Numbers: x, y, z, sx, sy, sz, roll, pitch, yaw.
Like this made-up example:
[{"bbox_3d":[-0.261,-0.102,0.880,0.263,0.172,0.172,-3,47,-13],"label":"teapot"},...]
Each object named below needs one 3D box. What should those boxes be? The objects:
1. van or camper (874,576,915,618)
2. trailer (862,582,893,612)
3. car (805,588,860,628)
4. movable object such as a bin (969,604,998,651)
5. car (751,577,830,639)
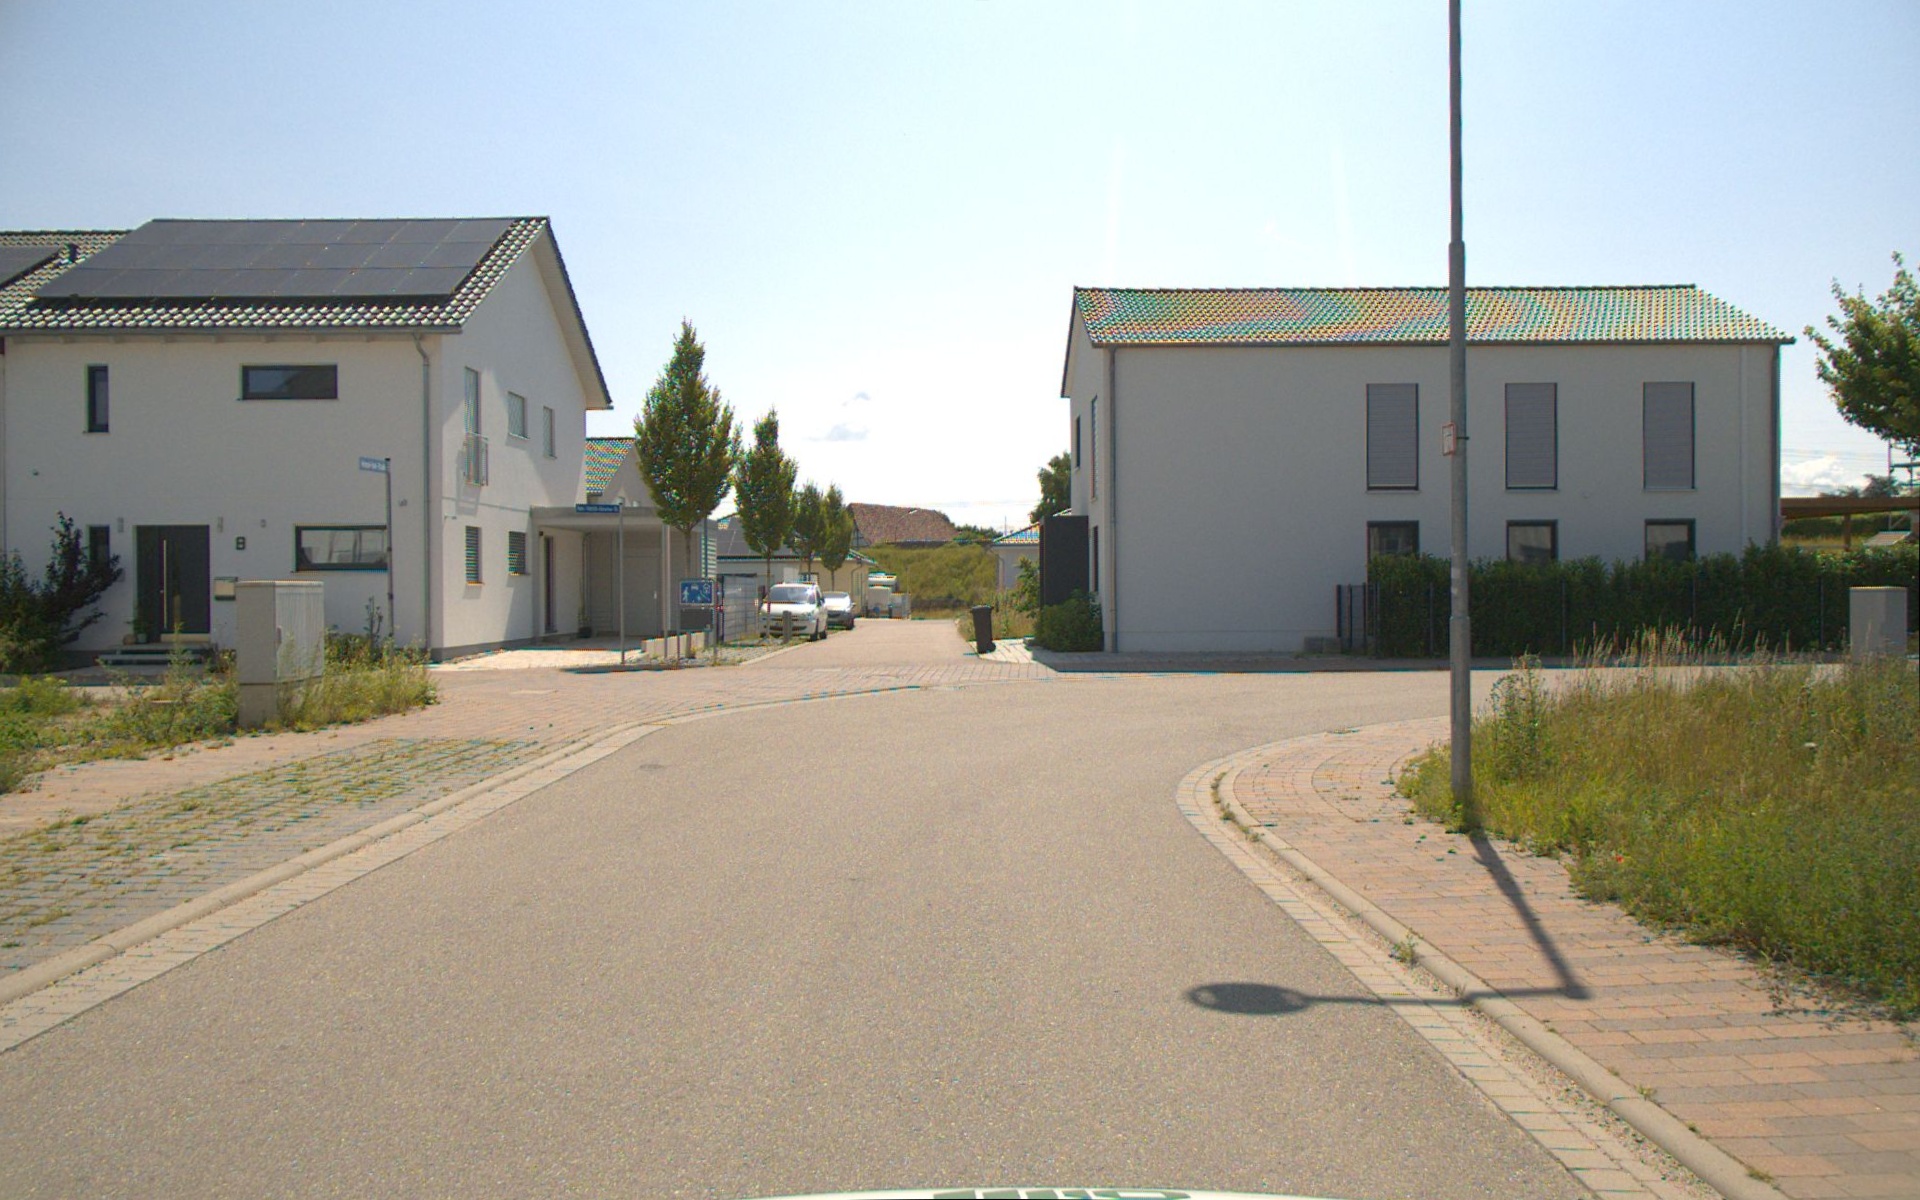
[{"bbox_3d":[-3.949,-0.159,100.045,2.217,2.453,4.844,1,0,0],"label":"van or camper"},{"bbox_3d":[-4.607,-0.172,92.670,1.593,1.642,2.561,1,0,0],"label":"trailer"},{"bbox_3d":[-5.448,0.328,71.364,1.952,1.642,4.484,1,0,0],"label":"car"},{"bbox_3d":[0.495,0.581,35.106,0.587,0.965,0.501,-2,0,0],"label":"movable object such as a bin"},{"bbox_3d":[-5.254,0.257,51.798,1.952,1.821,4.647,1,0,0],"label":"car"}]
